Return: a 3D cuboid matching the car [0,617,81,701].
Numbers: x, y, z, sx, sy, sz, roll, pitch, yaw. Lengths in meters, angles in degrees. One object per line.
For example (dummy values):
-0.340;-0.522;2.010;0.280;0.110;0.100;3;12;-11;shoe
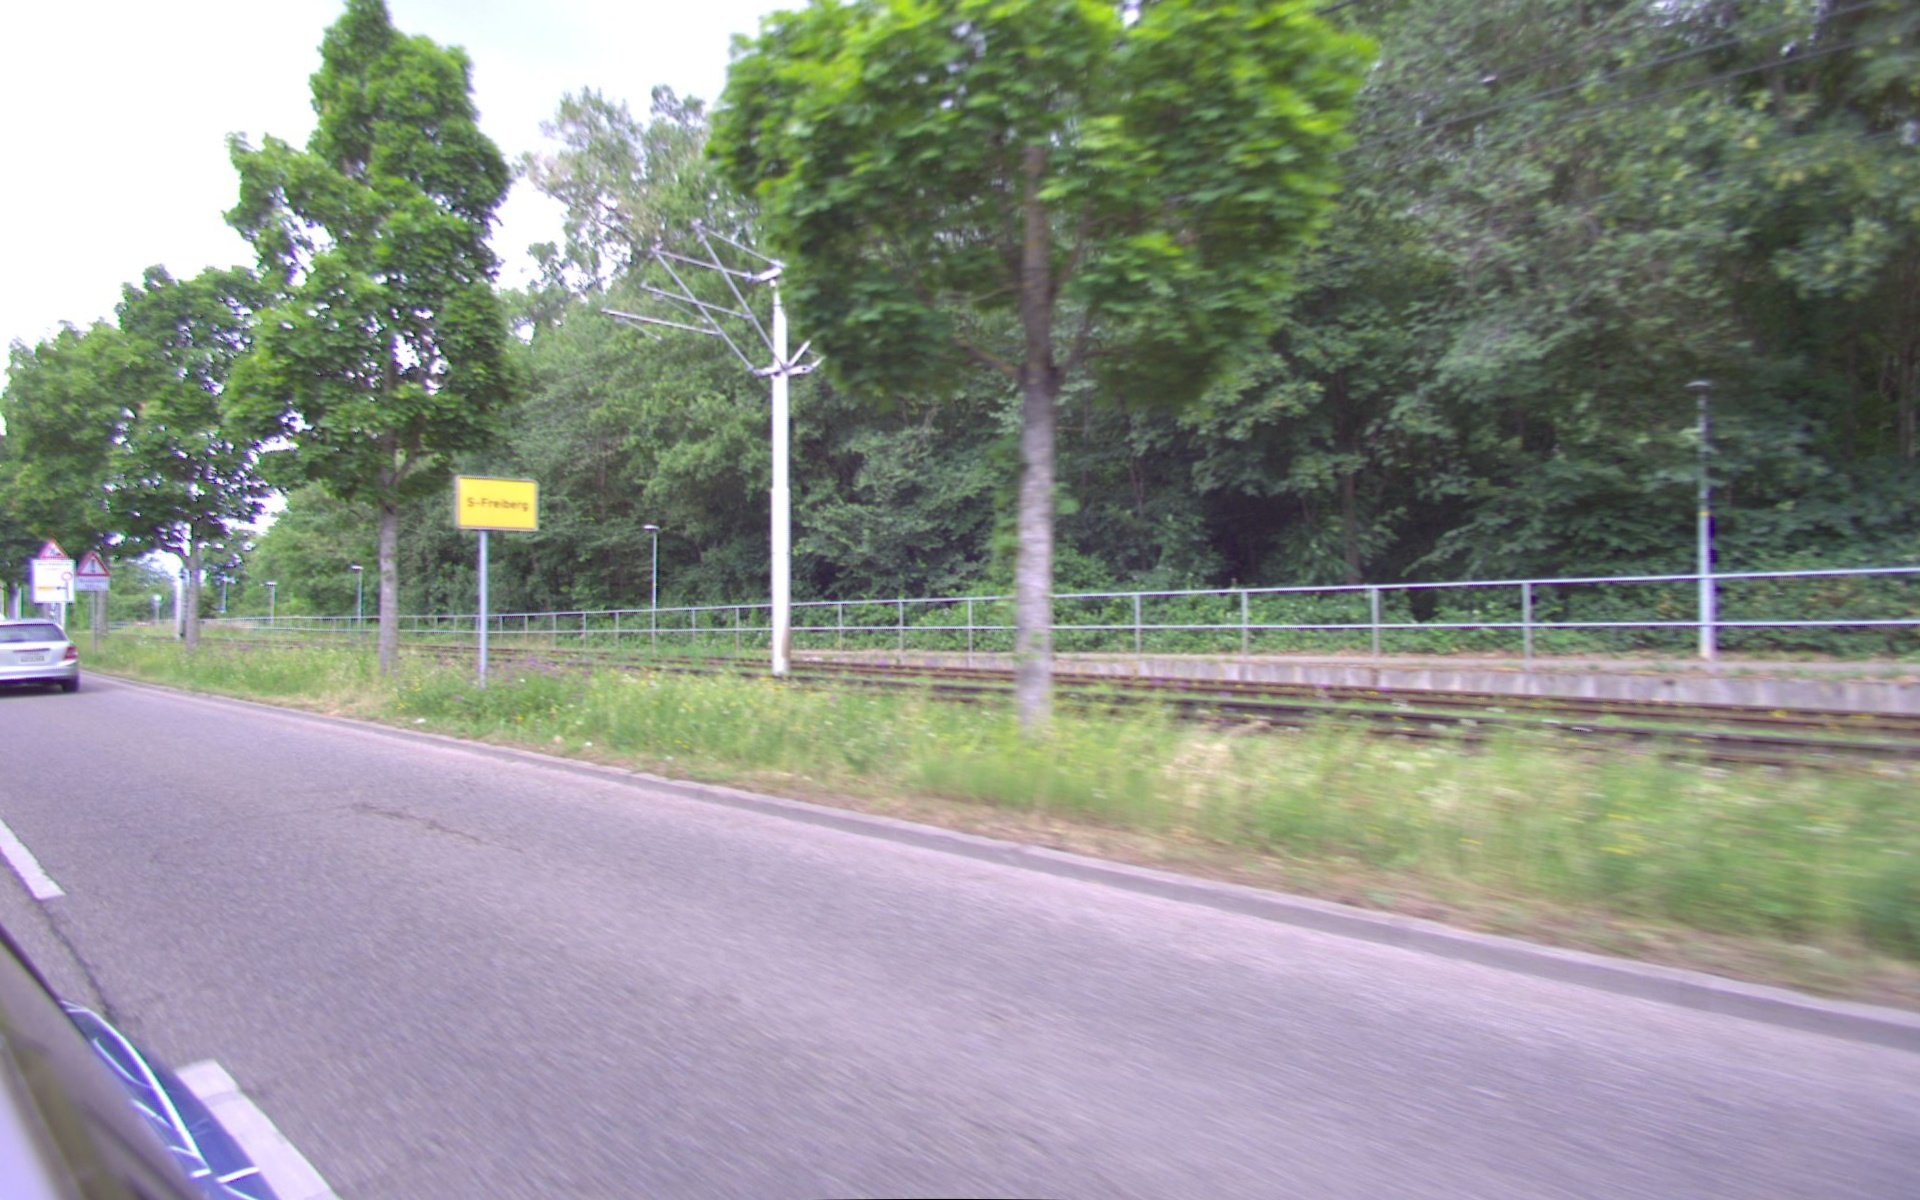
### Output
-18.594;1.115;19.681;4.240;1.480;1.755;-2;-1;42;car
